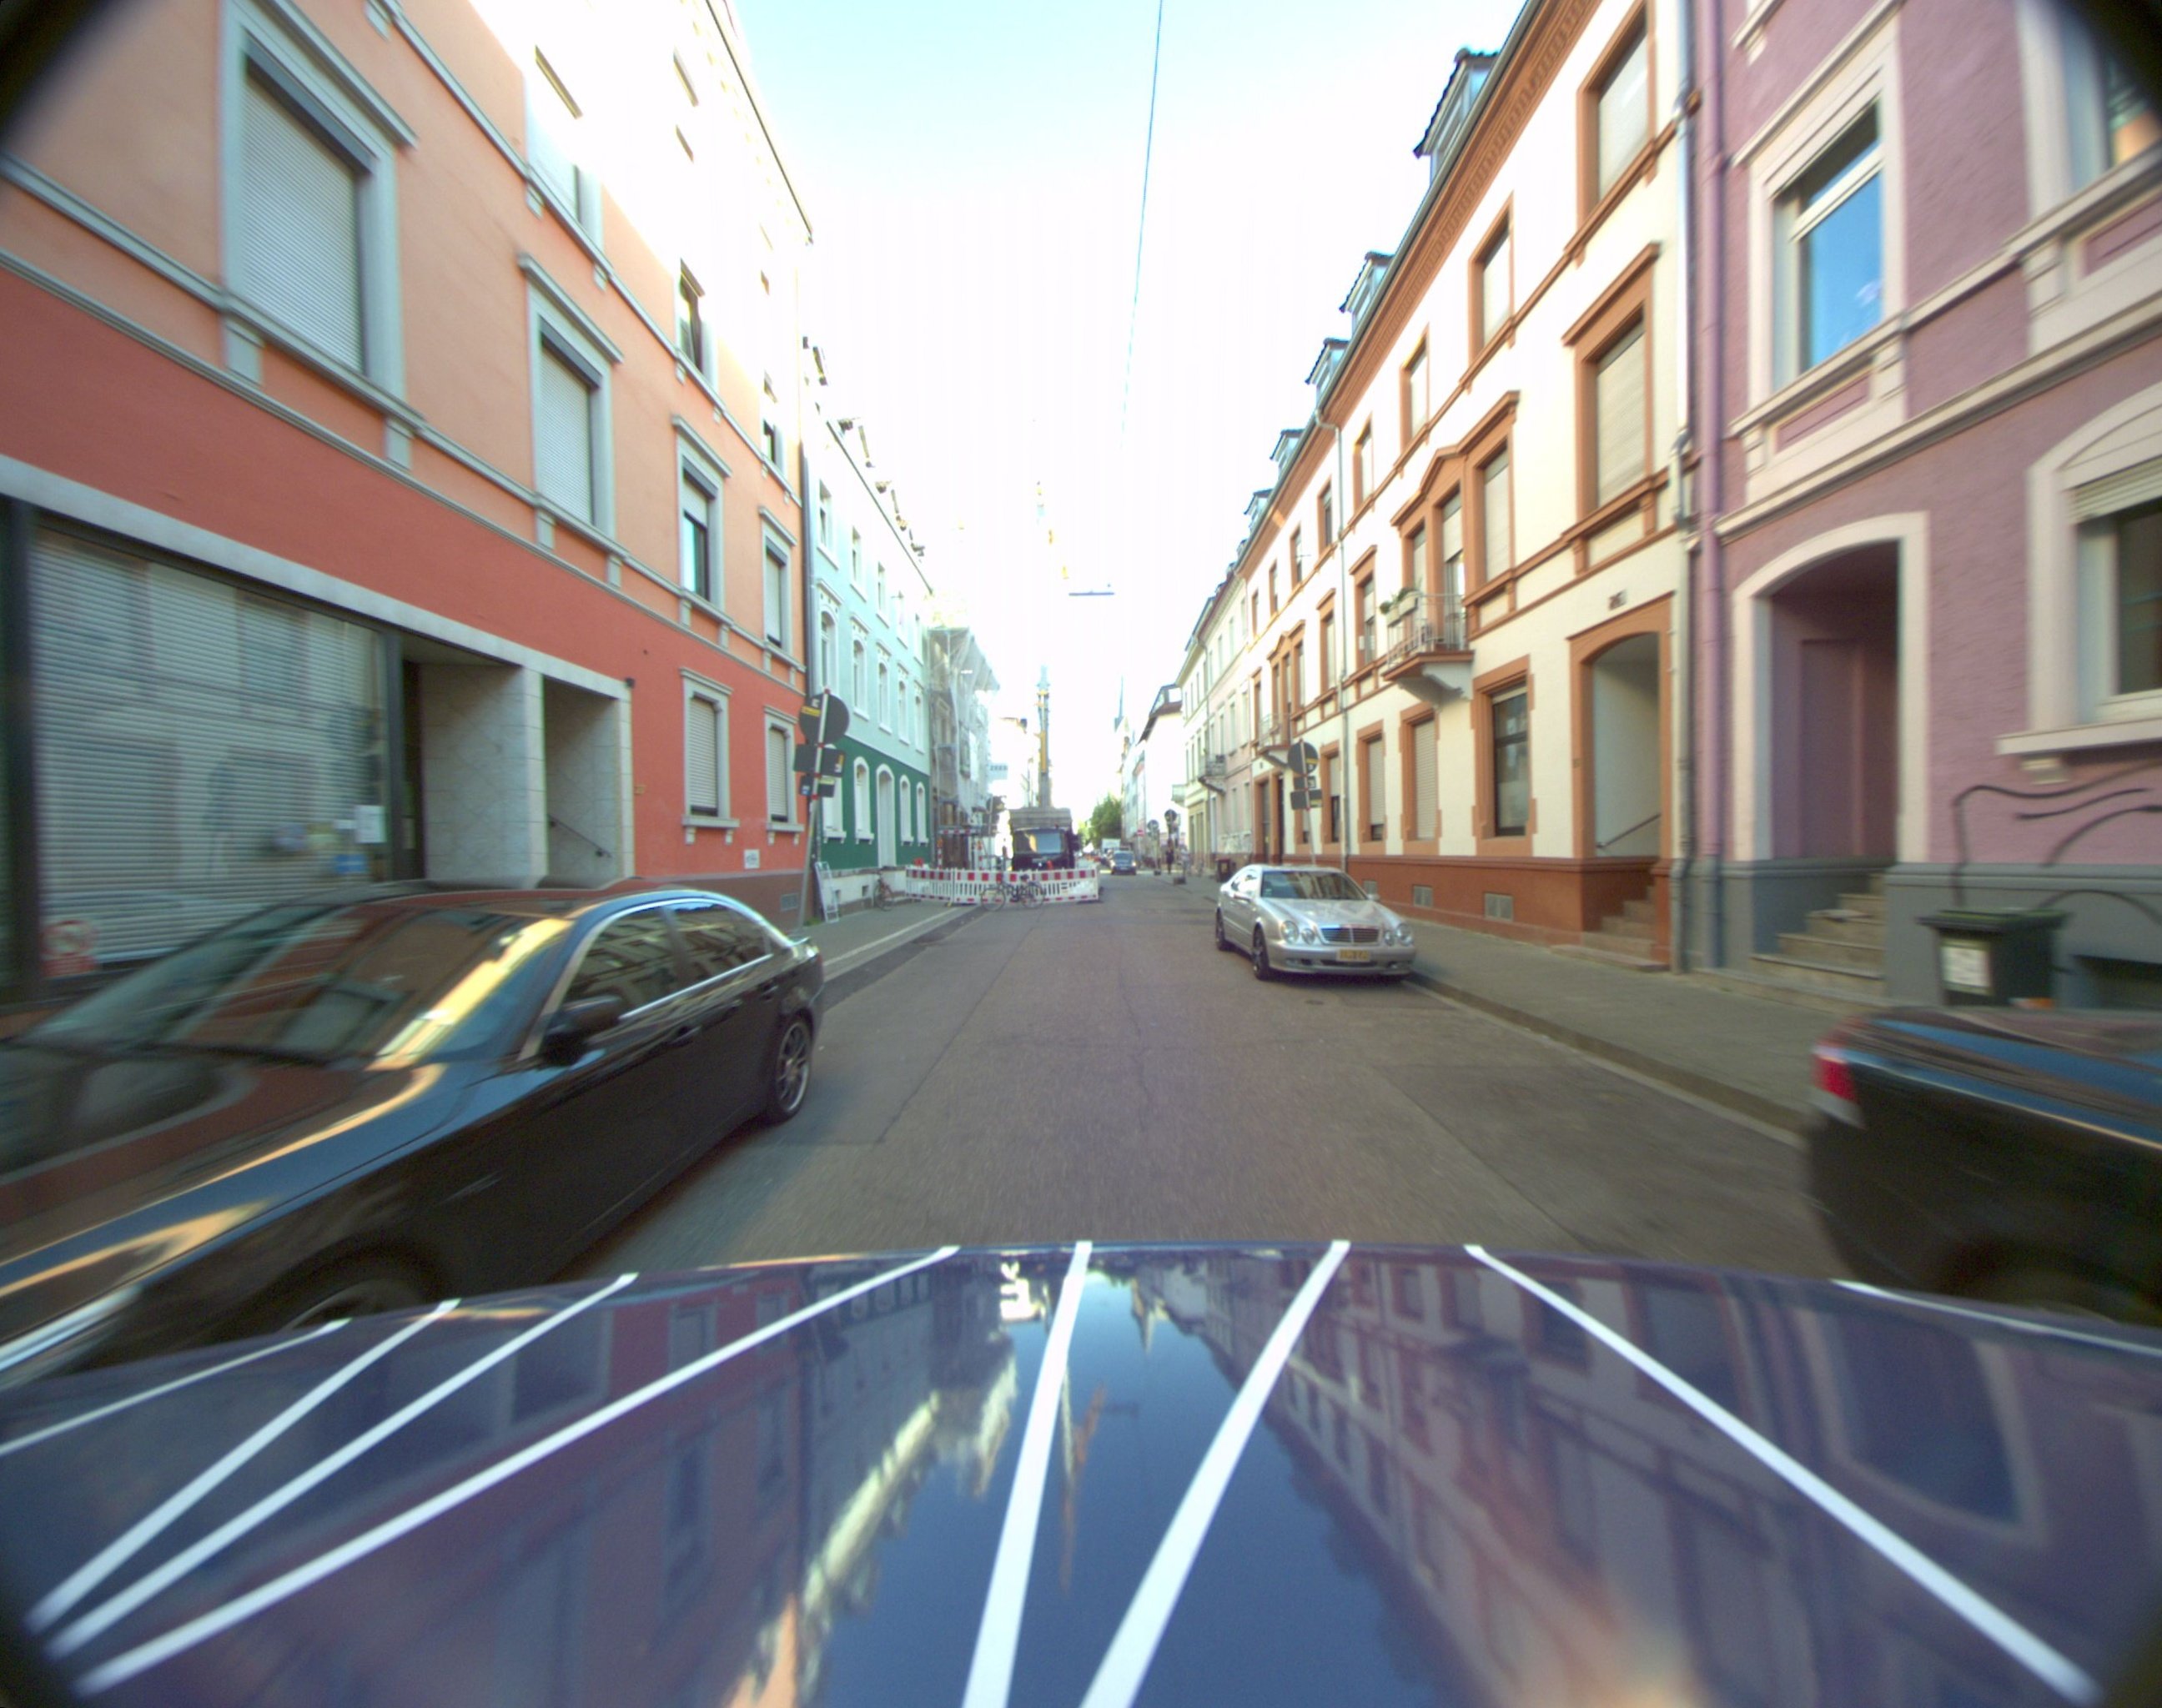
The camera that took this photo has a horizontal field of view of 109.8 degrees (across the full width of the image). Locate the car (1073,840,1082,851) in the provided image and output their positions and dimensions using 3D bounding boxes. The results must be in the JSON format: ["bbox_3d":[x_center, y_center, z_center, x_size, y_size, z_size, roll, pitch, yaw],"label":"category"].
[{"bbox_3d":[-0.901,-2.153,188.609,1.999,2.777,4.562,-2,1,-3],"label":"car"}]

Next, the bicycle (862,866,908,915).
[{"bbox_3d":[-5.089,0.931,19.813,0.656,1.122,1.834,3,1,1],"label":"bicycle"}]

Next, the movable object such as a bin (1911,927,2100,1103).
[{"bbox_3d":[5.577,0.952,4.609,0.545,0.939,0.487,-2,1,2],"label":"movable object such as a bin"}]

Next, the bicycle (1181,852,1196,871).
[{"bbox_3d":[6.457,0.447,45.581,0.605,1.016,1.818,-5,1,1],"label":"bicycle"}]

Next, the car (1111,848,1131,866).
[{"bbox_3d":[3.617,0.263,69.143,1.681,1.546,3.817,0,1,0],"label":"car"}]

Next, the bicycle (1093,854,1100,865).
[{"bbox_3d":[1.616,0.610,79.887,0.710,1.105,1.935,-1,1,3],"label":"bicycle"}]

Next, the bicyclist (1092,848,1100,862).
[{"bbox_3d":[1.590,0.092,79.819,0.710,1.427,0.790,-1,1,3],"label":"bicyclist"}]

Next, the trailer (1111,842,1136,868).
[{"bbox_3d":[3.488,0.061,62.579,1.666,2.049,4.362,0,1,-2],"label":"trailer"}]

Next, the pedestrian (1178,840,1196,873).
[{"bbox_3d":[5.651,0.125,40.579,0.695,1.691,0.865,-6,-1,1],"label":"pedestrian"}]

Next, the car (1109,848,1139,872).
[{"bbox_3d":[2.927,0.379,52.306,1.726,1.596,4.165,0,0,-1],"label":"car"}]

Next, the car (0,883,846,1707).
[{"bbox_3d":[-2.623,0.980,3.055,1.821,1.430,4.790,1,1,1],"label":"car"}]

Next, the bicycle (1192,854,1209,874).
[{"bbox_3d":[6.419,0.511,40.978,0.623,1.016,1.818,-2,1,1],"label":"bicycle"}]

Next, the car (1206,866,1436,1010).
[{"bbox_3d":[2.929,0.931,10.350,1.715,1.375,4.505,1,1,1],"label":"car"}]

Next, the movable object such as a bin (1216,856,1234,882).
[{"bbox_3d":[6.112,0.628,32.192,0.607,1.029,0.596,-2,1,-1],"label":"movable object such as a bin"}]

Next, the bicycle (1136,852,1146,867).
[{"bbox_3d":[4.919,0.434,62.651,0.578,1.132,1.460,-3,1,-5],"label":"bicycle"}]

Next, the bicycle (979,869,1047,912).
[{"bbox_3d":[-1.924,1.021,21.509,1.855,1.104,0.643,-3,1,-6],"label":"bicycle"}]

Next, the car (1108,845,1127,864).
[{"bbox_3d":[3.764,0.018,79.383,1.807,1.834,4.243,0,1,0],"label":"car"}]

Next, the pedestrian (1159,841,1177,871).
[{"bbox_3d":[5.373,0.103,46.755,0.828,1.782,0.989,1,1,-9],"label":"pedestrian"}]

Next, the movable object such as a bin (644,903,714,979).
[{"bbox_3d":[-5.236,1.126,9.924,0.599,0.901,0.579,2,2,-1],"label":"movable object such as a bin"}]

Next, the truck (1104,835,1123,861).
[{"bbox_3d":[3.950,-0.761,93.703,2.296,3.165,7.044,0,1,2],"label":"truck"}]

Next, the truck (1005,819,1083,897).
[{"bbox_3d":[-1.374,0.083,32.001,2.668,2.798,7.392,-2,1,1],"label":"truck"}]

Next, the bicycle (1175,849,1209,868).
[{"bbox_3d":[8.407,0.337,57.755,2.481,1.351,0.928,-1,1,1],"label":"bicycle"}]
